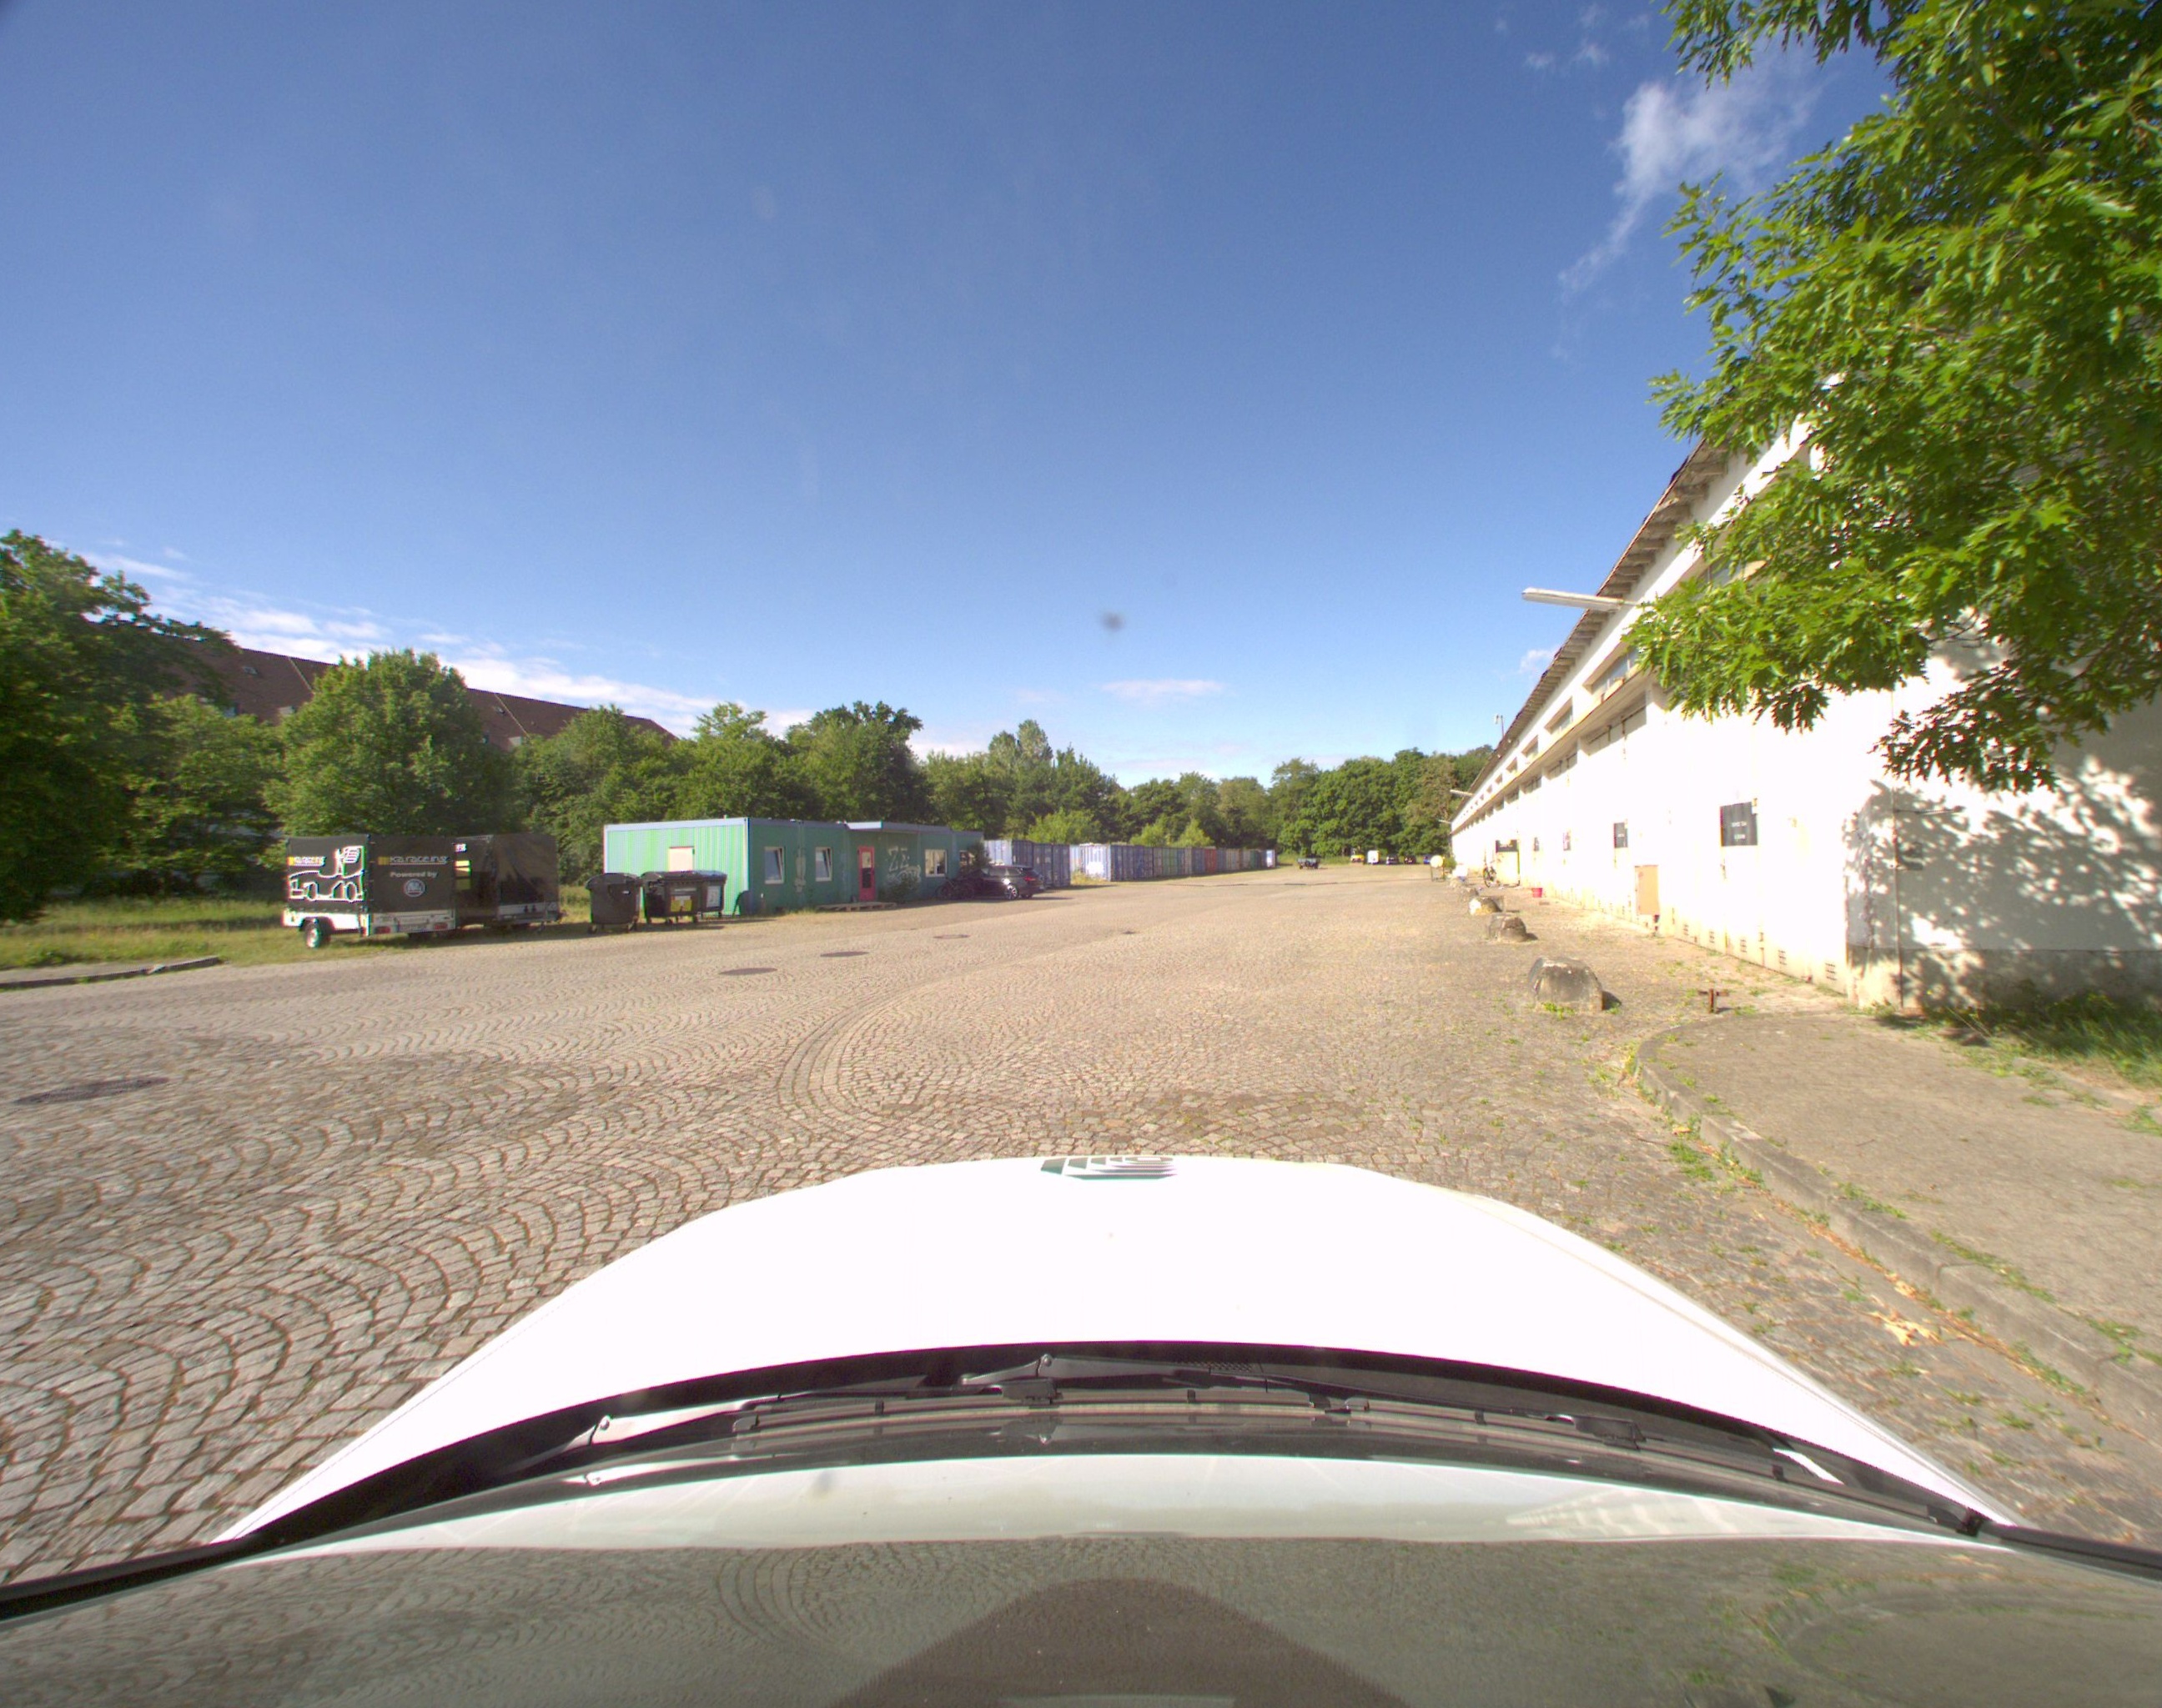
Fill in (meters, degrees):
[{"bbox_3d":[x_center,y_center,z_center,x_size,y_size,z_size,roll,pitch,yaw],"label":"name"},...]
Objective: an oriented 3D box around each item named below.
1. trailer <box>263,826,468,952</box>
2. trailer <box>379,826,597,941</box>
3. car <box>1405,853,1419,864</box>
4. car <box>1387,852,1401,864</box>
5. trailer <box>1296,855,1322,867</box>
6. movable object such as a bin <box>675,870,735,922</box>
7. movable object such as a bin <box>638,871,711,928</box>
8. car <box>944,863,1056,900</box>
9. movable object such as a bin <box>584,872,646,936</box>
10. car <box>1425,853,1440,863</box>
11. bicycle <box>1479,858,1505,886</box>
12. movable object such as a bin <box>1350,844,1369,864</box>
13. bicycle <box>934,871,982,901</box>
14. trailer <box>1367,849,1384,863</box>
[{"bbox_3d":[-15.379,0.716,17.554,3.354,2.470,2.055,-1,-1,23],"label":"trailer"},{"bbox_3d":[-14.403,0.690,19.816,4.598,2.568,1.961,-1,-1,19],"label":"trailer"},{"bbox_3d":[48.560,0.629,119.394,1.847,1.470,4.319,0,1,23],"label":"car"},{"bbox_3d":[46.141,0.596,120.016,1.847,1.589,4.319,0,1,23],"label":"car"},{"bbox_3d":[30.108,0.922,107.460,2.682,1.465,6.281,0,1,22],"label":"trailer"},{"bbox_3d":[-10.950,1.201,23.760,0.876,1.458,1.445,-1,-1,12],"label":"movable object such as a bin"},{"bbox_3d":[-10.915,1.200,21.919,1.009,1.458,1.448,-1,-1,22],"label":"movable object such as a bin"},{"bbox_3d":[-3.403,1.144,34.344,4.215,1.449,1.941,-1,-1,21],"label":"car"},{"bbox_3d":[-11.283,1.173,19.774,1.157,1.458,1.427,0,-1,-24],"label":"movable object such as a bin"},{"bbox_3d":[51.063,0.564,118.267,1.728,1.436,4.209,0,1,28],"label":"car"},{"bbox_3d":[16.475,0.704,32.638,0.658,1.068,1.835,-1,-1,35],"label":"bicycle"},{"bbox_3d":[42.655,-0.019,124.738,2.286,2.896,5.784,0,1,24],"label":"movable object such as a bin"},{"bbox_3d":[-4.995,1.300,33.019,1.788,1.170,0.672,-1,-1,20],"label":"bicycle"},{"bbox_3d":[44.602,0.280,123.265,2.174,2.094,5.783,0,1,23],"label":"trailer"}]
